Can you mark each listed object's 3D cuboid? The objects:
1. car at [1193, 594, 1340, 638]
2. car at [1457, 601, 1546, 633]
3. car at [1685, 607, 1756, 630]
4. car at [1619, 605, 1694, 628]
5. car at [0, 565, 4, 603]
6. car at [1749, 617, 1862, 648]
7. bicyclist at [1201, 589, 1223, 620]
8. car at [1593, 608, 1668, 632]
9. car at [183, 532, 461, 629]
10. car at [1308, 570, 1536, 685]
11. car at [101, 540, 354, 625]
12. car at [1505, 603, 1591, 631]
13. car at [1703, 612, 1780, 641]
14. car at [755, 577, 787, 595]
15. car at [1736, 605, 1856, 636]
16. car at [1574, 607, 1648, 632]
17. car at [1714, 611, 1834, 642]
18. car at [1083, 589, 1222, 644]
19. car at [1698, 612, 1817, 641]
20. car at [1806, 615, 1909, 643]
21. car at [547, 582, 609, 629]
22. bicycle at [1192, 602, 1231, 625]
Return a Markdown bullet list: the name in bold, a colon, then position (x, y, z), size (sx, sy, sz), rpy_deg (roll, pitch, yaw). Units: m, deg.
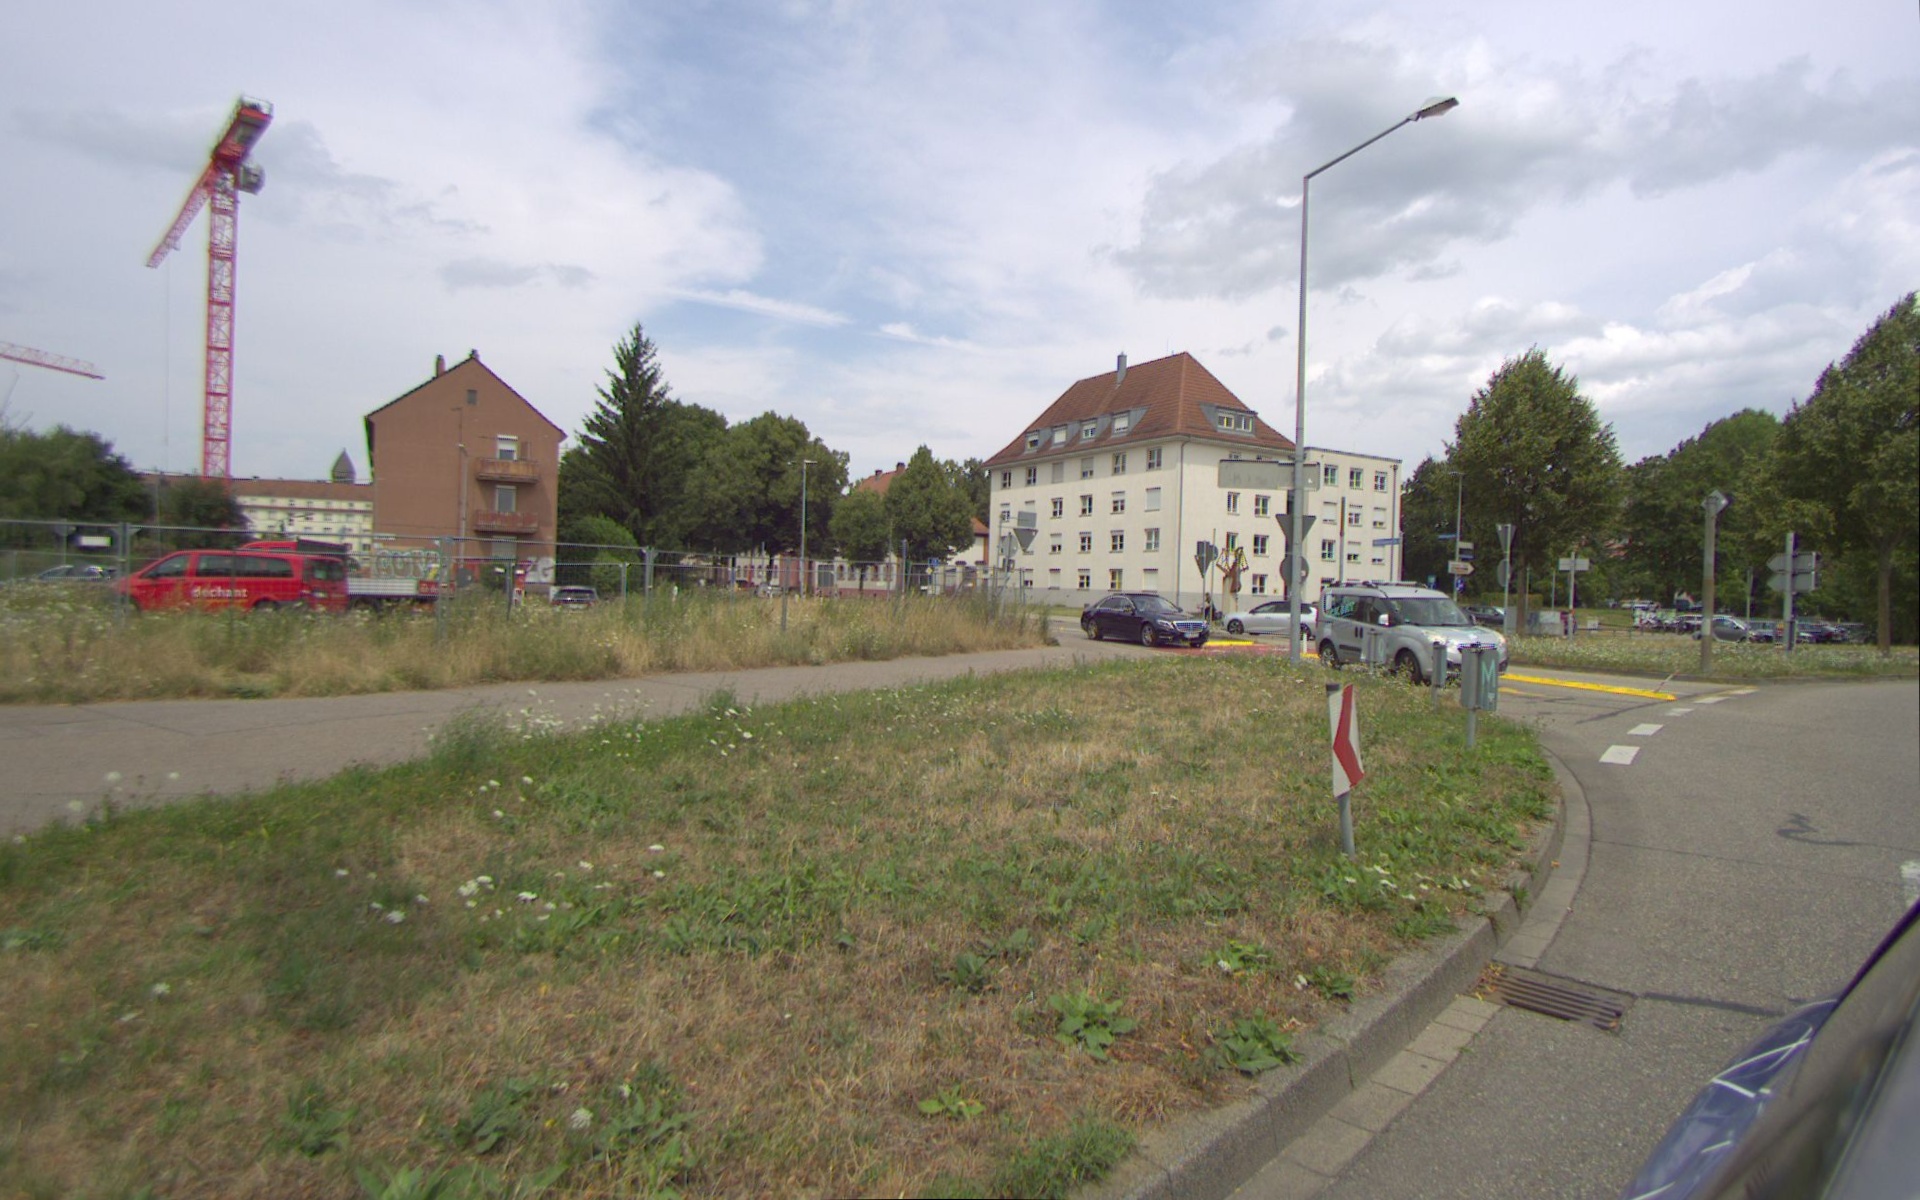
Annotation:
- **car**: position (11.870, 0.579, 39.437), size (5.167, 1.501, 1.969), rpy_deg (2, 1, 43)
- **car**: position (33.593, 1.012, 62.870), size (1.960, 1.786, 4.505), rpy_deg (1, 1, -31)
- **car**: position (59.074, 1.432, 78.663), size (1.781, 1.594, 4.011), rpy_deg (2, 0, -31)
- **car**: position (49.953, 1.150, 72.632), size (1.781, 1.486, 4.011), rpy_deg (1, 1, -31)
- **car**: position (-42.851, -0.713, 42.269), size (3.931, 1.622, 1.805), rpy_deg (1, 1, -9)
- **car**: position (48.986, 1.854, 58.752), size (1.796, 1.490, 4.715), rpy_deg (1, 1, -30)
- **bicyclist**: position (11.843, 0.200, 47.515), size (0.786, 1.441, 0.603), rpy_deg (2, 0, -23)
- **car**: position (46.733, 1.374, 70.592), size (1.781, 1.486, 4.011), rpy_deg (1, 1, -31)
- **car**: position (-17.789, -0.559, 28.436), size (6.421, 2.442, 2.317), rpy_deg (2, 1, 2)
- **car**: position (8.866, 0.444, 19.960), size (1.774, 1.972, 4.592), rpy_deg (1, 1, -9)
- **car**: position (-18.240, -0.397, 25.362), size (4.894, 1.935, 1.935), rpy_deg (1, -2, 1)
- **car**: position (38.137, 1.094, 65.775), size (1.959, 1.617, 4.413), rpy_deg (1, 1, -29)
- **car**: position (40.961, 1.393, 53.095), size (1.456, 1.442, 2.915), rpy_deg (2, -2, -36)
- **car**: position (-17.216, -1.279, 92.082), size (1.596, 1.538, 4.224), rpy_deg (1, 1, -28)
- **car**: position (47.216, 1.142, 57.256), size (1.796, 1.490, 4.895), rpy_deg (1, 1, -30)
- **car**: position (44.821, 1.332, 69.723), size (1.583, 1.486, 4.011), rpy_deg (1, 1, -31)
- **car**: position (45.139, 1.436, 56.253), size (1.796, 1.490, 4.895), rpy_deg (1, 1, -30)
- **car**: position (5.694, 0.450, 30.681), size (1.780, 1.523, 4.879), rpy_deg (1, 0, -22)
- **car**: position (42.957, 1.407, 54.610), size (1.797, 1.490, 4.708), rpy_deg (1, -1, -33)
- **car**: position (55.299, 1.760, 62.419), size (1.796, 1.490, 4.393), rpy_deg (1, 1, -30)
- **car**: position (-13.234, 0.158, 35.255), size (1.730, 1.492, 4.269), rpy_deg (1, 1, -17)
- **bicycle**: position (11.808, 0.629, 47.511), size (1.791, 1.059, 0.603), rpy_deg (1, 0, -23)
